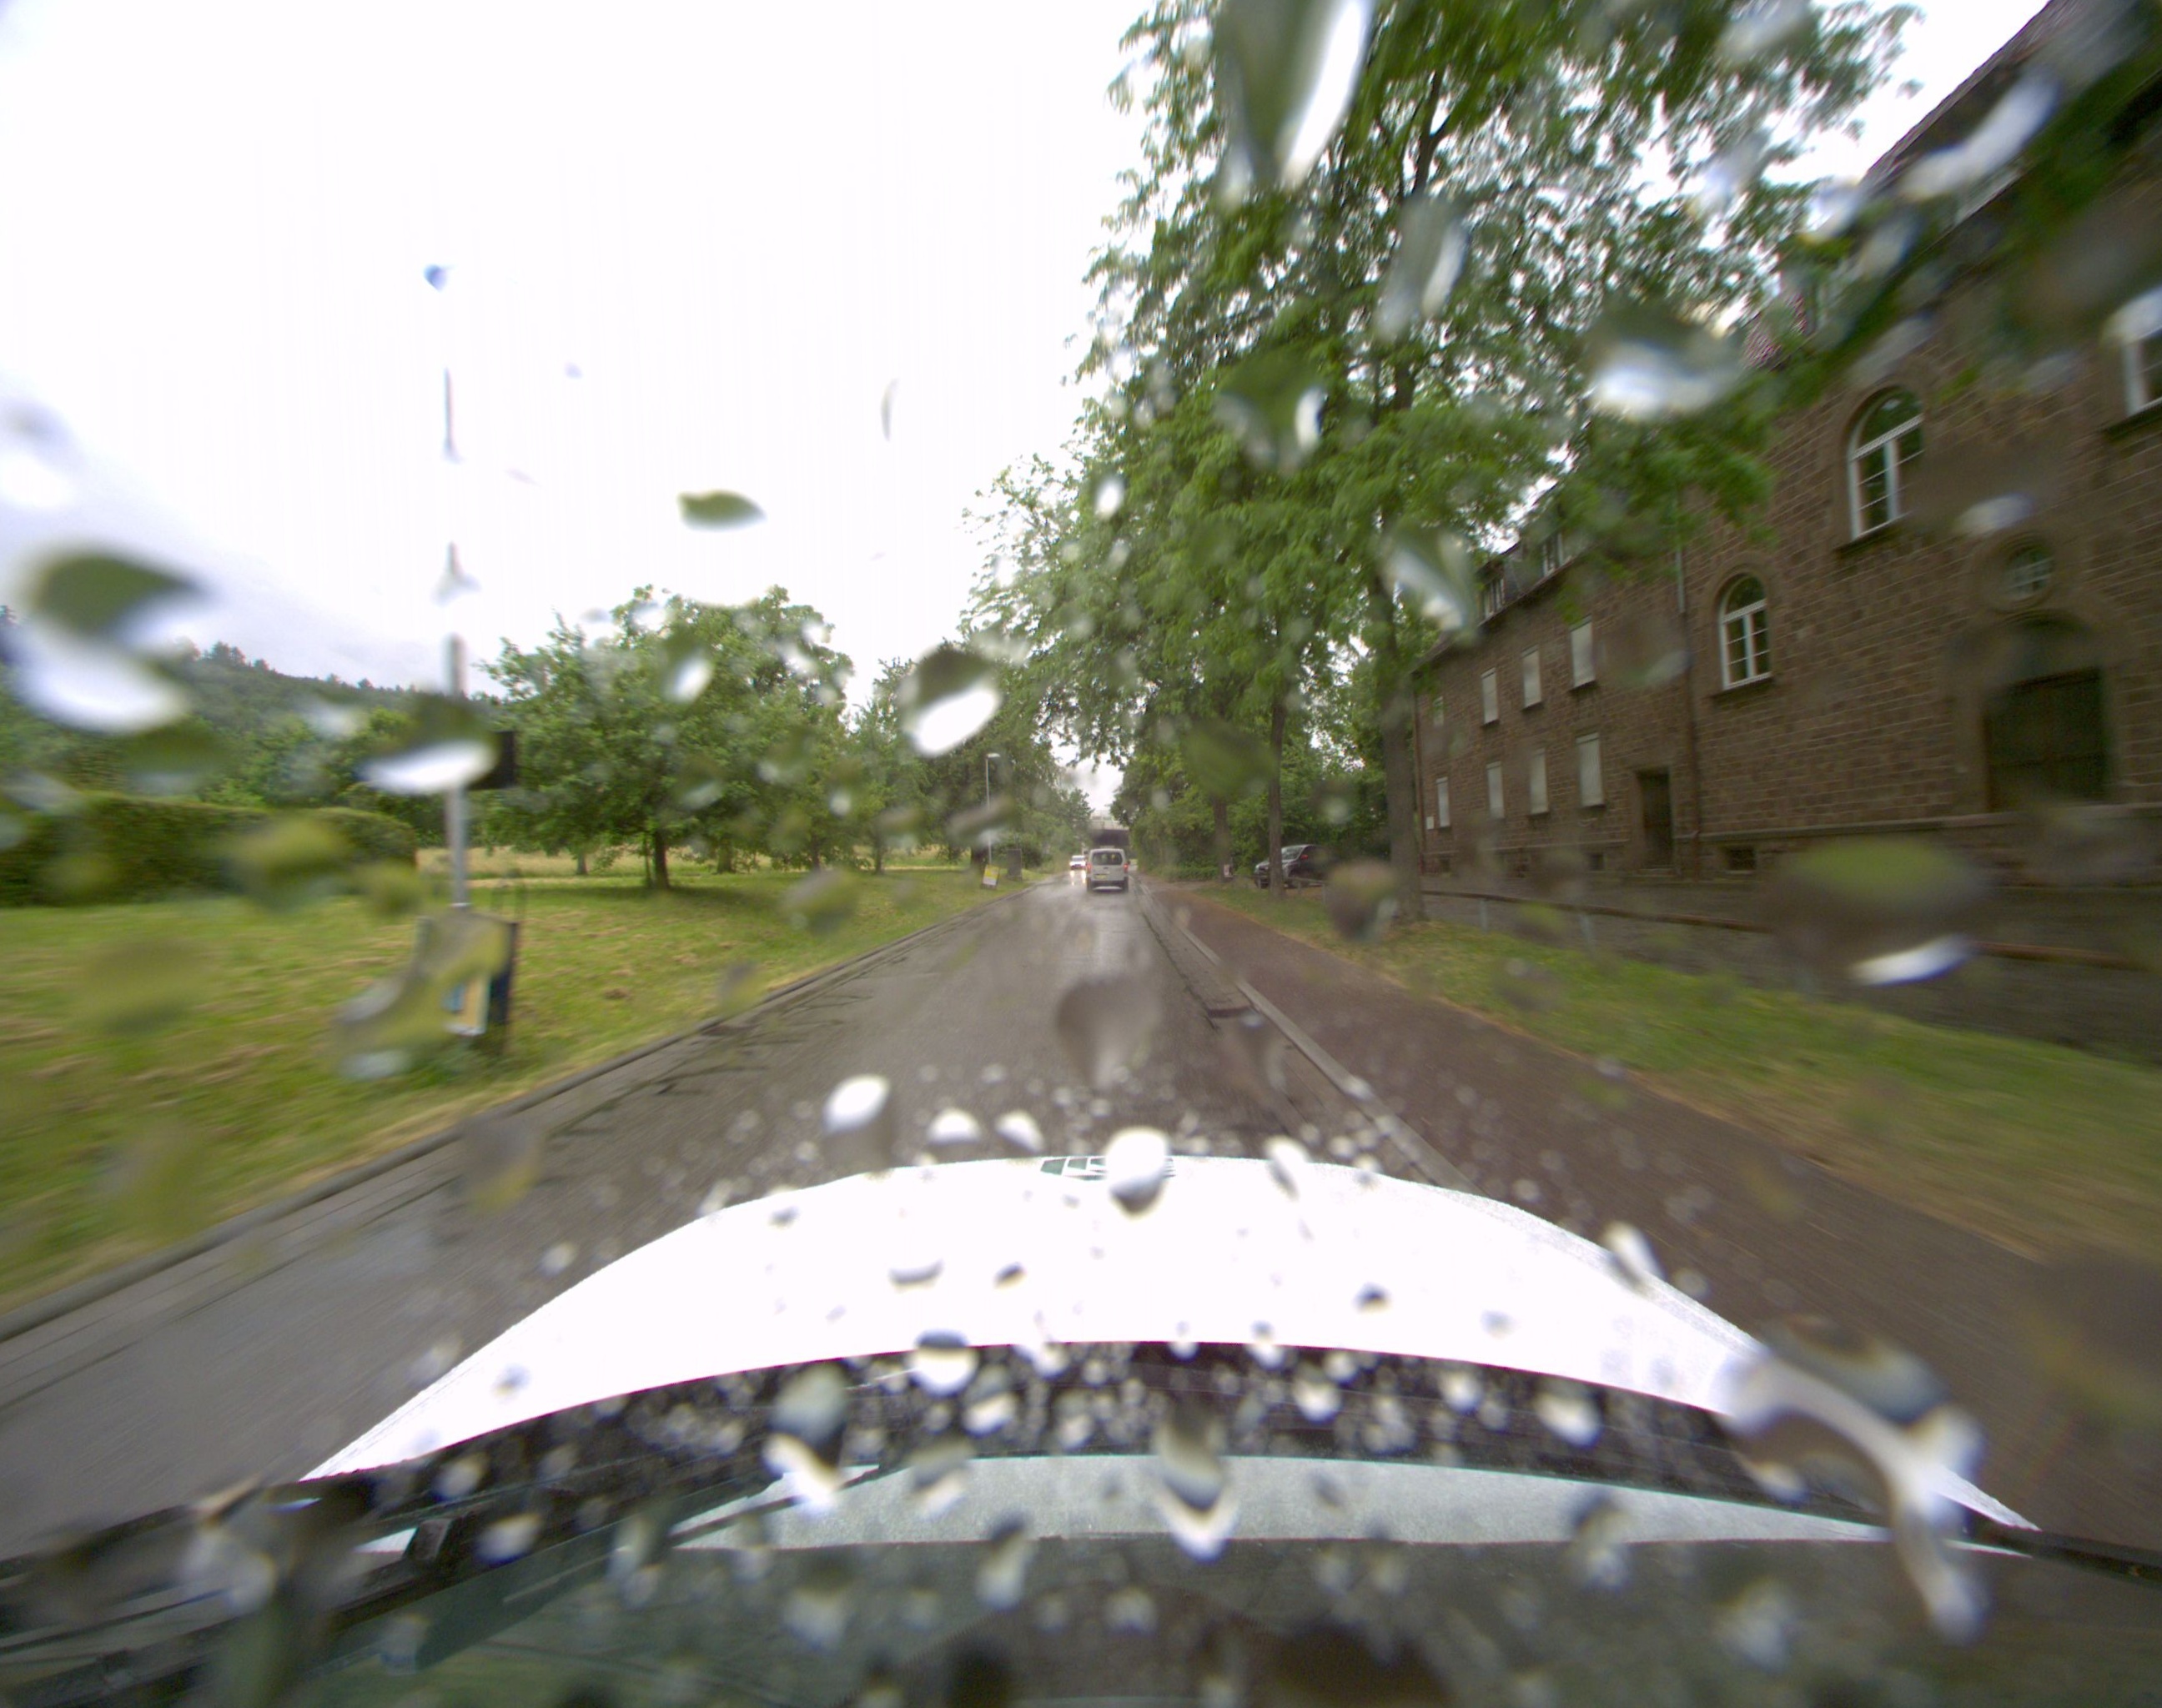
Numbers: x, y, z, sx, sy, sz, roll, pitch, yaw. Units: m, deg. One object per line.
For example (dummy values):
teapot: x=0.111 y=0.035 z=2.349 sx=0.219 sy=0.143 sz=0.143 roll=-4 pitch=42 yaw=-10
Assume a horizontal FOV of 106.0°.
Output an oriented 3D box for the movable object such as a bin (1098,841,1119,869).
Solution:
movable object such as a bin: x=2.651 y=0.087 z=78.018 sx=1.753 sy=2.548 sz=4.244 roll=-1 pitch=-1 yaw=4

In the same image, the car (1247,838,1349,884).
car: x=8.011 y=0.256 z=29.980 sx=3.628 sy=1.551 sz=1.604 roll=-2 pitch=-1 yaw=-35

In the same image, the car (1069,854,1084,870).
car: x=-0.508 y=1.010 z=100.320 sx=1.817 sy=1.832 sz=4.307 roll=-1 pitch=-1 yaw=0

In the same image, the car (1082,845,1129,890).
car: x=1.099 y=0.551 z=35.777 sx=1.889 sy=1.807 sz=4.003 roll=-3 pitch=0 yaw=2
